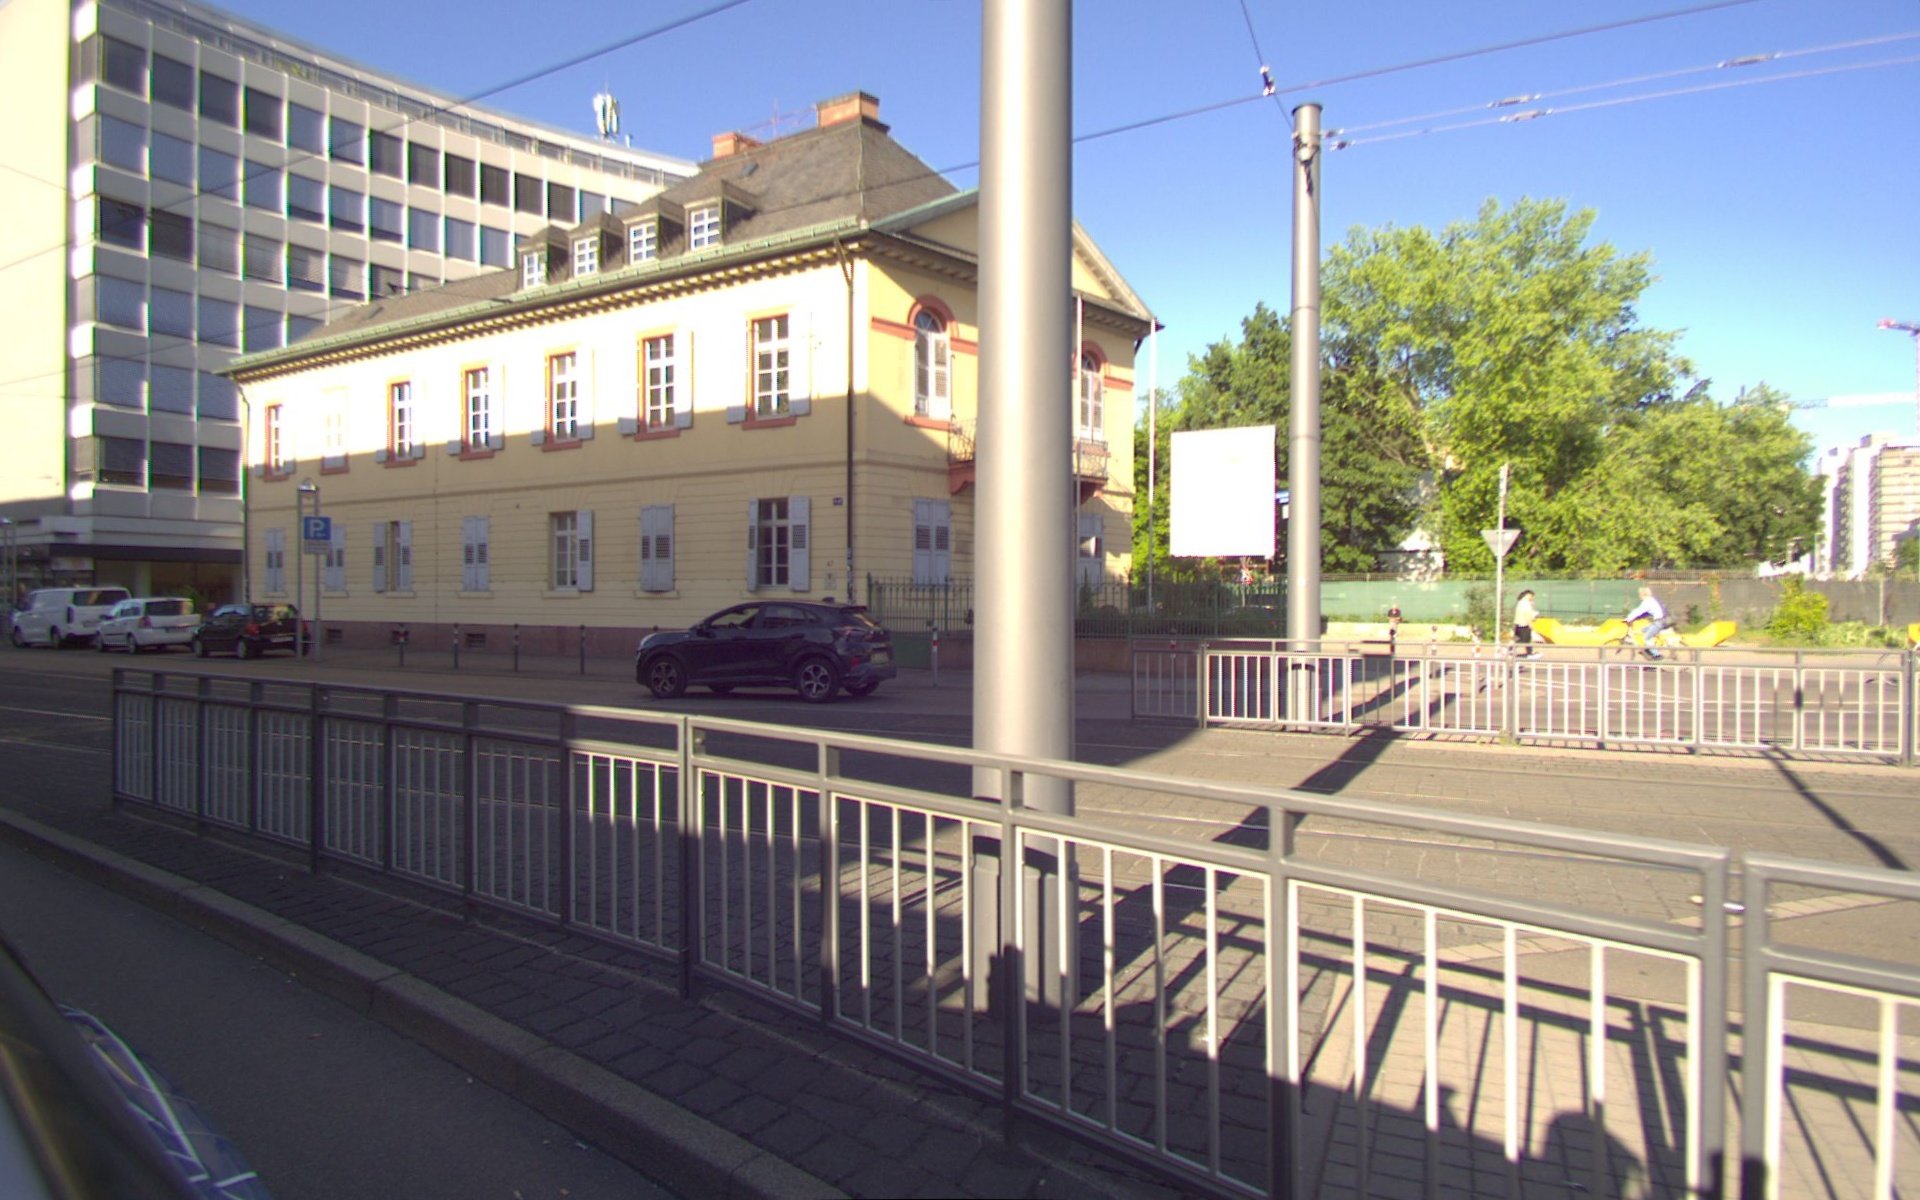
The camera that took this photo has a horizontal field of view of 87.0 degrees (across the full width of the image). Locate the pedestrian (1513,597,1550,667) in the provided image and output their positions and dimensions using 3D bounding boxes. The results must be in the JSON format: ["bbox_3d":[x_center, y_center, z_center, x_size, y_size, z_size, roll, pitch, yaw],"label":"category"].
[{"bbox_3d":[15.552,0.852,27.539,0.740,1.865,0.697,0,0,42],"label":"pedestrian"}]

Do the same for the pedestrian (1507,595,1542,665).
[{"bbox_3d":[15.059,0.780,26.990,0.705,1.831,0.587,0,0,42],"label":"pedestrian"}]

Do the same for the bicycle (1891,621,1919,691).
[{"bbox_3d":[17.831,1.011,17.947,1.880,1.223,0.525,0,0,34],"label":"bicycle"}]

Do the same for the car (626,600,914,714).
[{"bbox_3d":[-2.900,0.797,15.588,4.088,1.572,1.680,0,0,18],"label":"car"}]

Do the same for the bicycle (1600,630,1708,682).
[{"bbox_3d":[15.111,1.206,22.095,0.522,1.021,1.890,0,0,-35],"label":"bicycle"}]

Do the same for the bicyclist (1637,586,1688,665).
[{"bbox_3d":[15.235,0.534,21.961,0.513,1.686,0.772,0,0,-34],"label":"bicyclist"}]

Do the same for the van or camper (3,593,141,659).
[{"bbox_3d":[-29.174,0.780,33.213,4.777,1.988,1.942,0,1,30],"label":"van or camper"}]

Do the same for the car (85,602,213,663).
[{"bbox_3d":[-24.306,0.923,30.296,4.163,1.632,1.763,0,1,33],"label":"car"}]

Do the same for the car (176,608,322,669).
[{"bbox_3d":[-19.229,0.986,27.347,3.946,1.450,1.764,0,1,31],"label":"car"}]

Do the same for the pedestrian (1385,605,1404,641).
[{"bbox_3d":[17.773,0.920,41.374,0.682,1.462,0.741,0,0,27],"label":"pedestrian"}]
